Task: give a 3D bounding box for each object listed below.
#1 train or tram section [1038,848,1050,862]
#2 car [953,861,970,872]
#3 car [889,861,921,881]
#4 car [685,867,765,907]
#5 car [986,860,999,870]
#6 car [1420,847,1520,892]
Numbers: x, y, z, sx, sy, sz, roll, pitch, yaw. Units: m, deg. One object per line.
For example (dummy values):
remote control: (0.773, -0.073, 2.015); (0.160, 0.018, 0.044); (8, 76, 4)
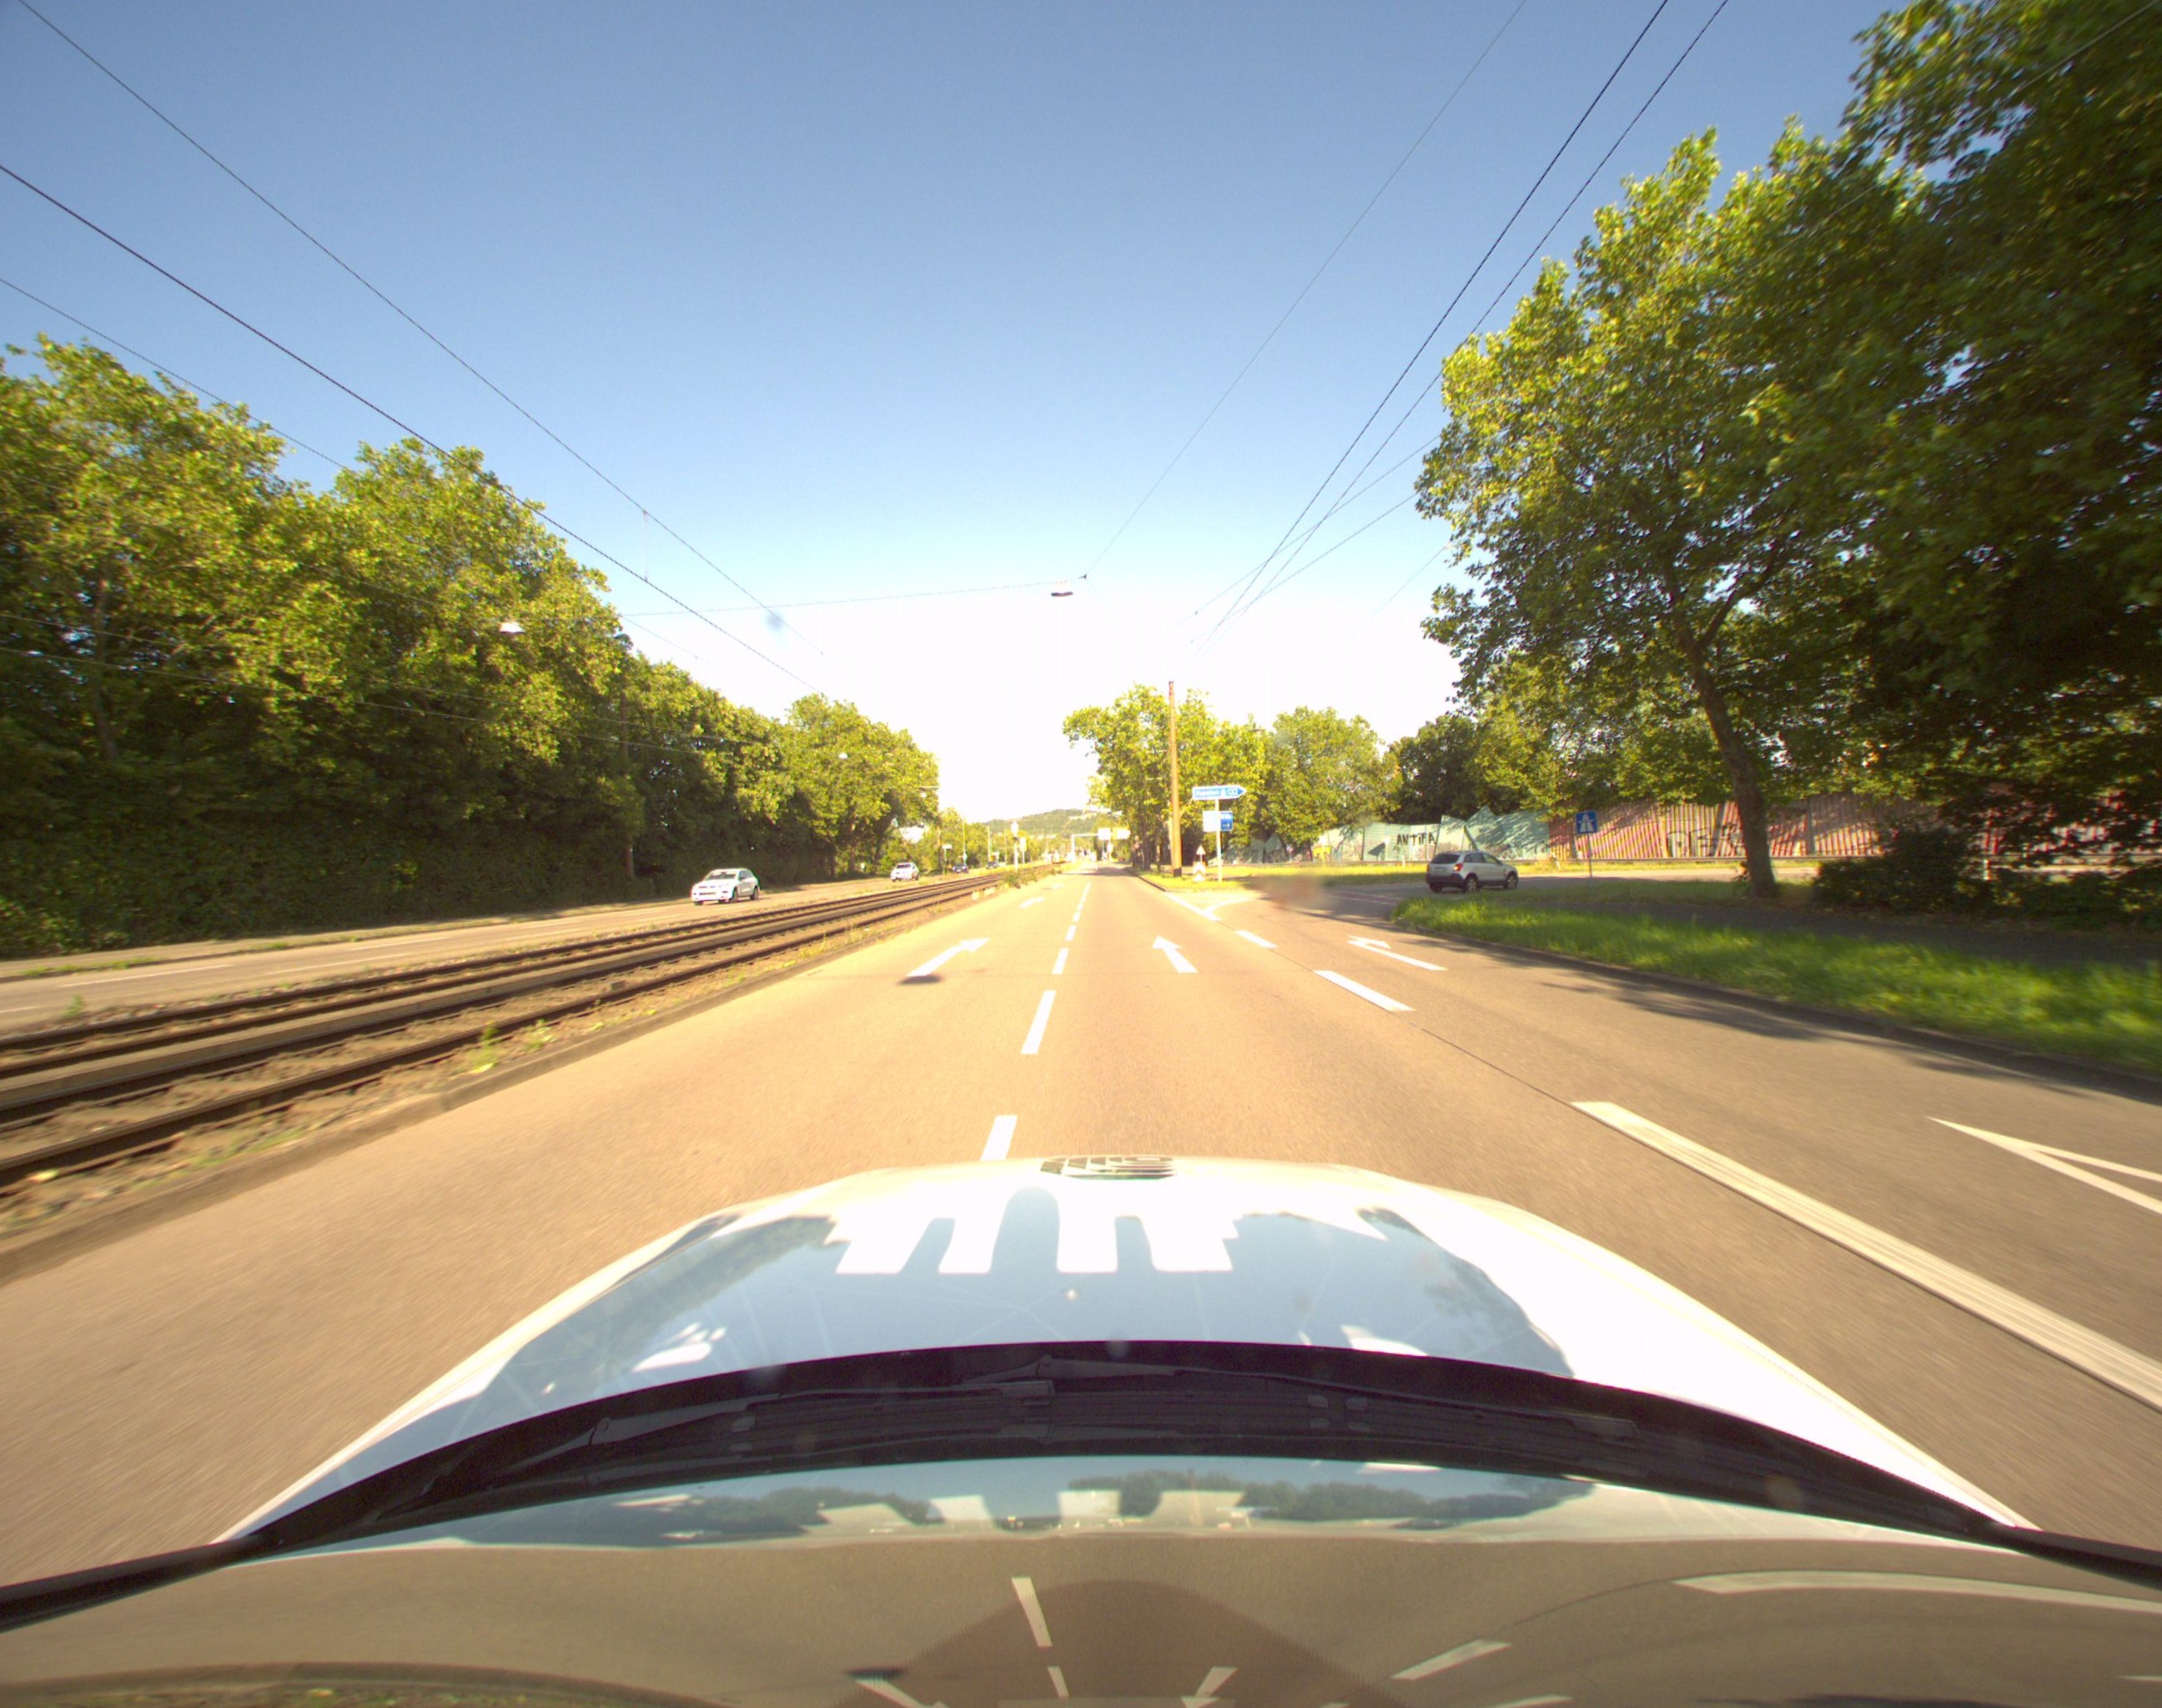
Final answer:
train or tram section: (-10.798, 0.287, 239.684); (2.795, 3.903, 12.330); (-1, 0, 0)
car: (-17.050, 1.745, 115.972); (1.706, 1.468, 4.346); (-4, 0, -1)
car: (-16.761, 1.600, 77.801); (1.957, 1.707, 4.941); (-4, -1, -1)
car: (-17.717, 1.575, 40.811); (1.841, 1.734, 4.927); (-4, -1, -2)
car: (-16.728, 2.053, 154.131); (1.893, 1.694, 4.938); (-4, 0, -1)
car: (16.243, 0.620, 33.994); (3.872, 1.773, 1.798); (-1, -1, -28)
